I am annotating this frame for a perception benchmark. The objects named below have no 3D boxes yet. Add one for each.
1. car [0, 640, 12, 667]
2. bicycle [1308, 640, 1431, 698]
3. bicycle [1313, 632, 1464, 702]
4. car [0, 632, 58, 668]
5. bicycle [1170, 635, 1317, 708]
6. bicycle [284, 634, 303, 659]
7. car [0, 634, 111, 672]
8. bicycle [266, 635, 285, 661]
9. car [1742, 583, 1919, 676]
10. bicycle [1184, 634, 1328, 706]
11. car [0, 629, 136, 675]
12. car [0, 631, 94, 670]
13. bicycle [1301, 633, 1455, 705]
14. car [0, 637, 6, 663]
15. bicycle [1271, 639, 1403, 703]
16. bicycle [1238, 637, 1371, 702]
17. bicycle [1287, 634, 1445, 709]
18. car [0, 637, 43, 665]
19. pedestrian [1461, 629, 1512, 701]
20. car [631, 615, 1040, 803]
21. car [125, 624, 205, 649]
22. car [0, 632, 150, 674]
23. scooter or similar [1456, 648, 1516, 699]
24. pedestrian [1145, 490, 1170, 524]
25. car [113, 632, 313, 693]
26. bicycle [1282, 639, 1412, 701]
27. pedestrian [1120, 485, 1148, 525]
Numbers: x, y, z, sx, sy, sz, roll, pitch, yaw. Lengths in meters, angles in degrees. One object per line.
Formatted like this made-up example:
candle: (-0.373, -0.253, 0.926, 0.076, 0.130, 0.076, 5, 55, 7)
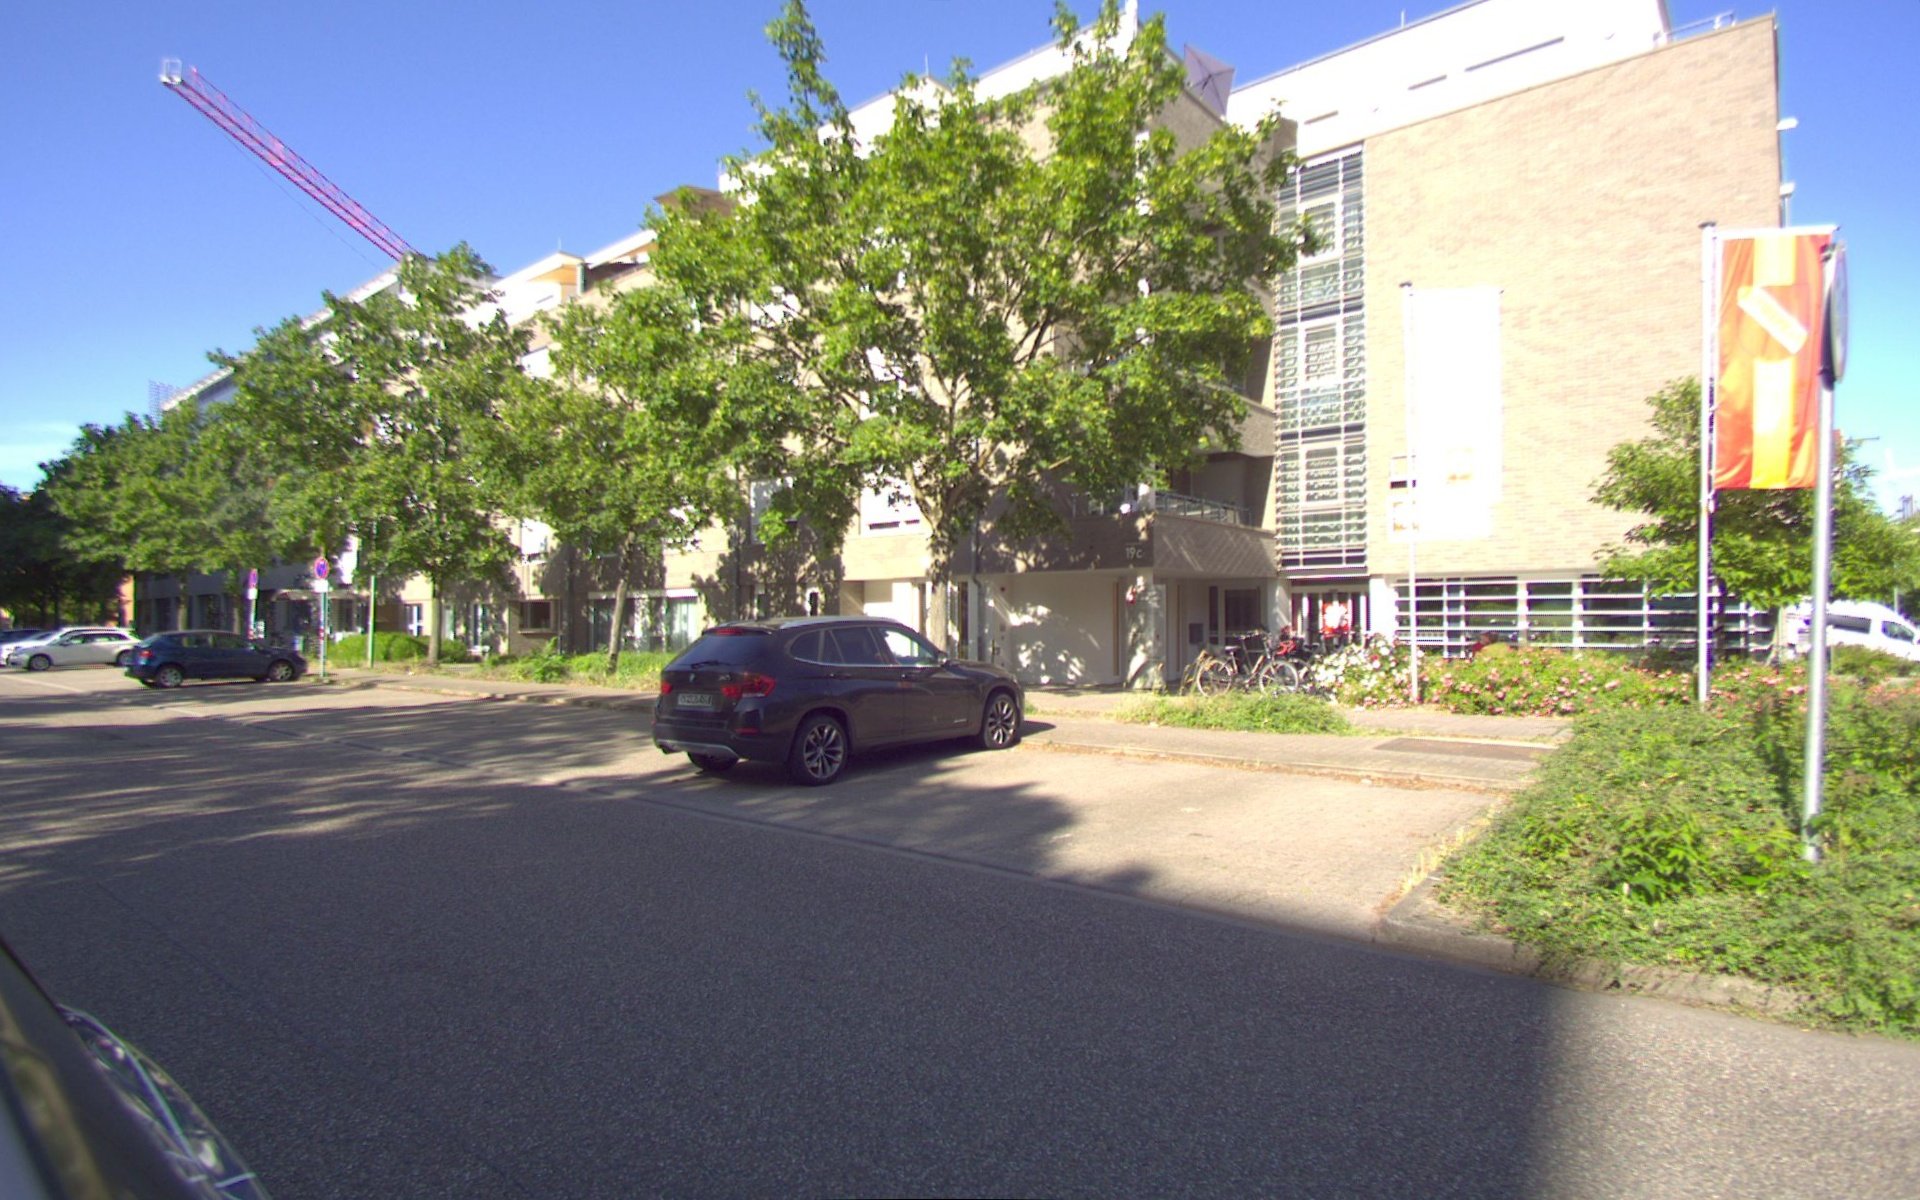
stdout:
car: (-53.602, 2.913, 54.545, 1.656, 1.447, 3.495, -2, -1, 39)
bicycle: (7.935, 1.320, 19.698, 2.192, 1.055, 0.432, -2, -1, 41)
bicycle: (6.819, 1.042, 16.201, 2.192, 1.055, 0.432, -2, -1, 41)
car: (-46.173, 2.432, 49.050, 1.654, 1.681, 3.534, -2, -1, 42)
bicycle: (4.334, 1.074, 15.626, 2.192, 1.055, 0.432, -2, -1, 41)
bicycle: (-32.037, 2.230, 48.621, 1.626, 1.184, 0.334, -2, -1, 41)
car: (-40.329, 2.318, 44.319, 1.937, 1.462, 4.468, -2, -1, 36)
bicycle: (-32.384, 2.264, 47.850, 1.626, 1.184, 0.334, -2, -1, 41)
car: (28.688, 0.966, 32.426, 5.458, 2.400, 1.898, 8, 3, 37)
bicycle: (4.635, 1.077, 15.997, 2.192, 1.055, 0.432, -2, -1, 41)
car: (-36.409, 2.058, 41.201, 1.952, 1.614, 4.182, -1, 0, 40)
car: (-42.377, 2.289, 46.250, 1.802, 1.632, 4.069, -2, -1, 41)
bicycle: (6.492, 1.050, 15.837, 2.192, 1.055, 0.432, -2, -1, 41)
car: (-59.384, 3.017, 60.287, 1.644, 1.517, 3.495, -2, -1, 39)
bicycle: (6.707, 1.246, 18.123, 2.192, 1.055, 0.432, -2, -1, 41)
bicycle: (5.978, 1.185, 17.680, 2.192, 1.055, 0.432, -2, -1, 41)
bicycle: (6.155, 1.059, 15.449, 2.192, 1.055, 0.432, -2, -1, 41)
car: (-51.425, 2.768, 53.791, 1.685, 1.424, 3.785, -4, -2, 39)
pedestrian: (10.291, 1.248, 19.775, 0.745, 1.371, 0.661, -2, -3, 41)
car: (-1.105, 0.943, 10.583, 1.771, 1.531, 4.149, -2, -1, 41)
car: (-70.373, 3.215, 89.656, 1.930, 2.115, 5.264, -2, -1, 38)
car: (-34.073, 2.012, 38.997, 1.798, 1.491, 4.216, -2, -2, 39)
scooter or similar: (10.281, 1.417, 19.786, 0.868, 0.962, 0.795, -2, -3, 41)
pedestrian: (4.328, -2.033, 22.178, 0.426, 0.691, 0.412, -1, -1, 31)
car: (-19.770, 1.593, 26.931, 1.814, 1.422, 3.951, -1, -1, 36)
bicycle: (7.049, 1.258, 18.529, 2.192, 1.055, 0.432, -2, -1, 41)
pedestrian: (3.846, -2.089, 22.302, 0.362, 0.804, 0.676, -1, -1, 33)
